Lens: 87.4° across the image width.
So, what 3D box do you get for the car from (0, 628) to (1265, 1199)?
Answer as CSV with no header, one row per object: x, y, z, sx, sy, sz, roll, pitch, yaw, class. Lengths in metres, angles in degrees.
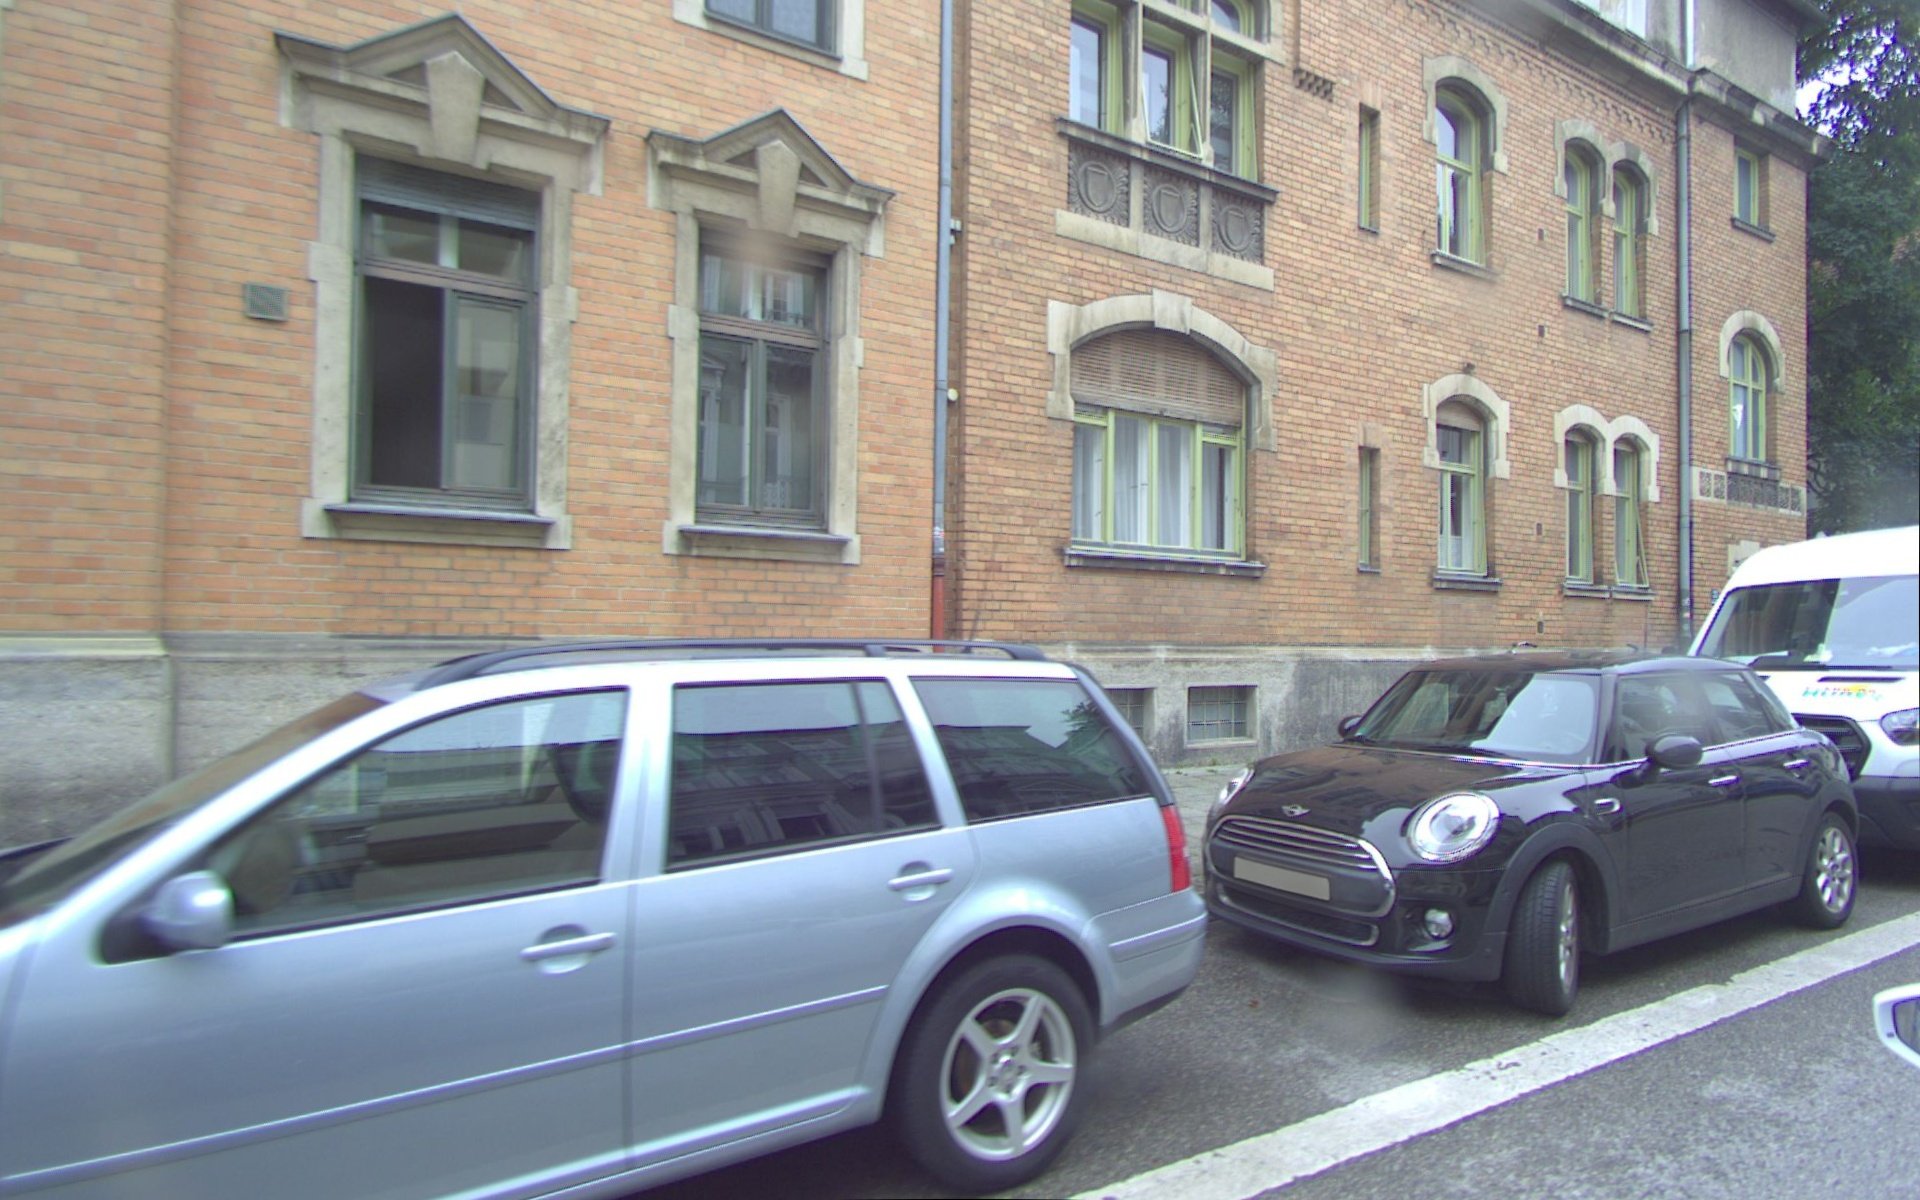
-1.165,0.864,2.931,3.949,1.473,1.682,2,-4,-30,car

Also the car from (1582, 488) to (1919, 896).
7.492,0.644,7.941,5.306,2.380,2.127,2,-3,-30,car

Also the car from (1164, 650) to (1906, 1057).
3.090,1.008,5.299,3.784,1.450,1.691,2,-3,-29,car
